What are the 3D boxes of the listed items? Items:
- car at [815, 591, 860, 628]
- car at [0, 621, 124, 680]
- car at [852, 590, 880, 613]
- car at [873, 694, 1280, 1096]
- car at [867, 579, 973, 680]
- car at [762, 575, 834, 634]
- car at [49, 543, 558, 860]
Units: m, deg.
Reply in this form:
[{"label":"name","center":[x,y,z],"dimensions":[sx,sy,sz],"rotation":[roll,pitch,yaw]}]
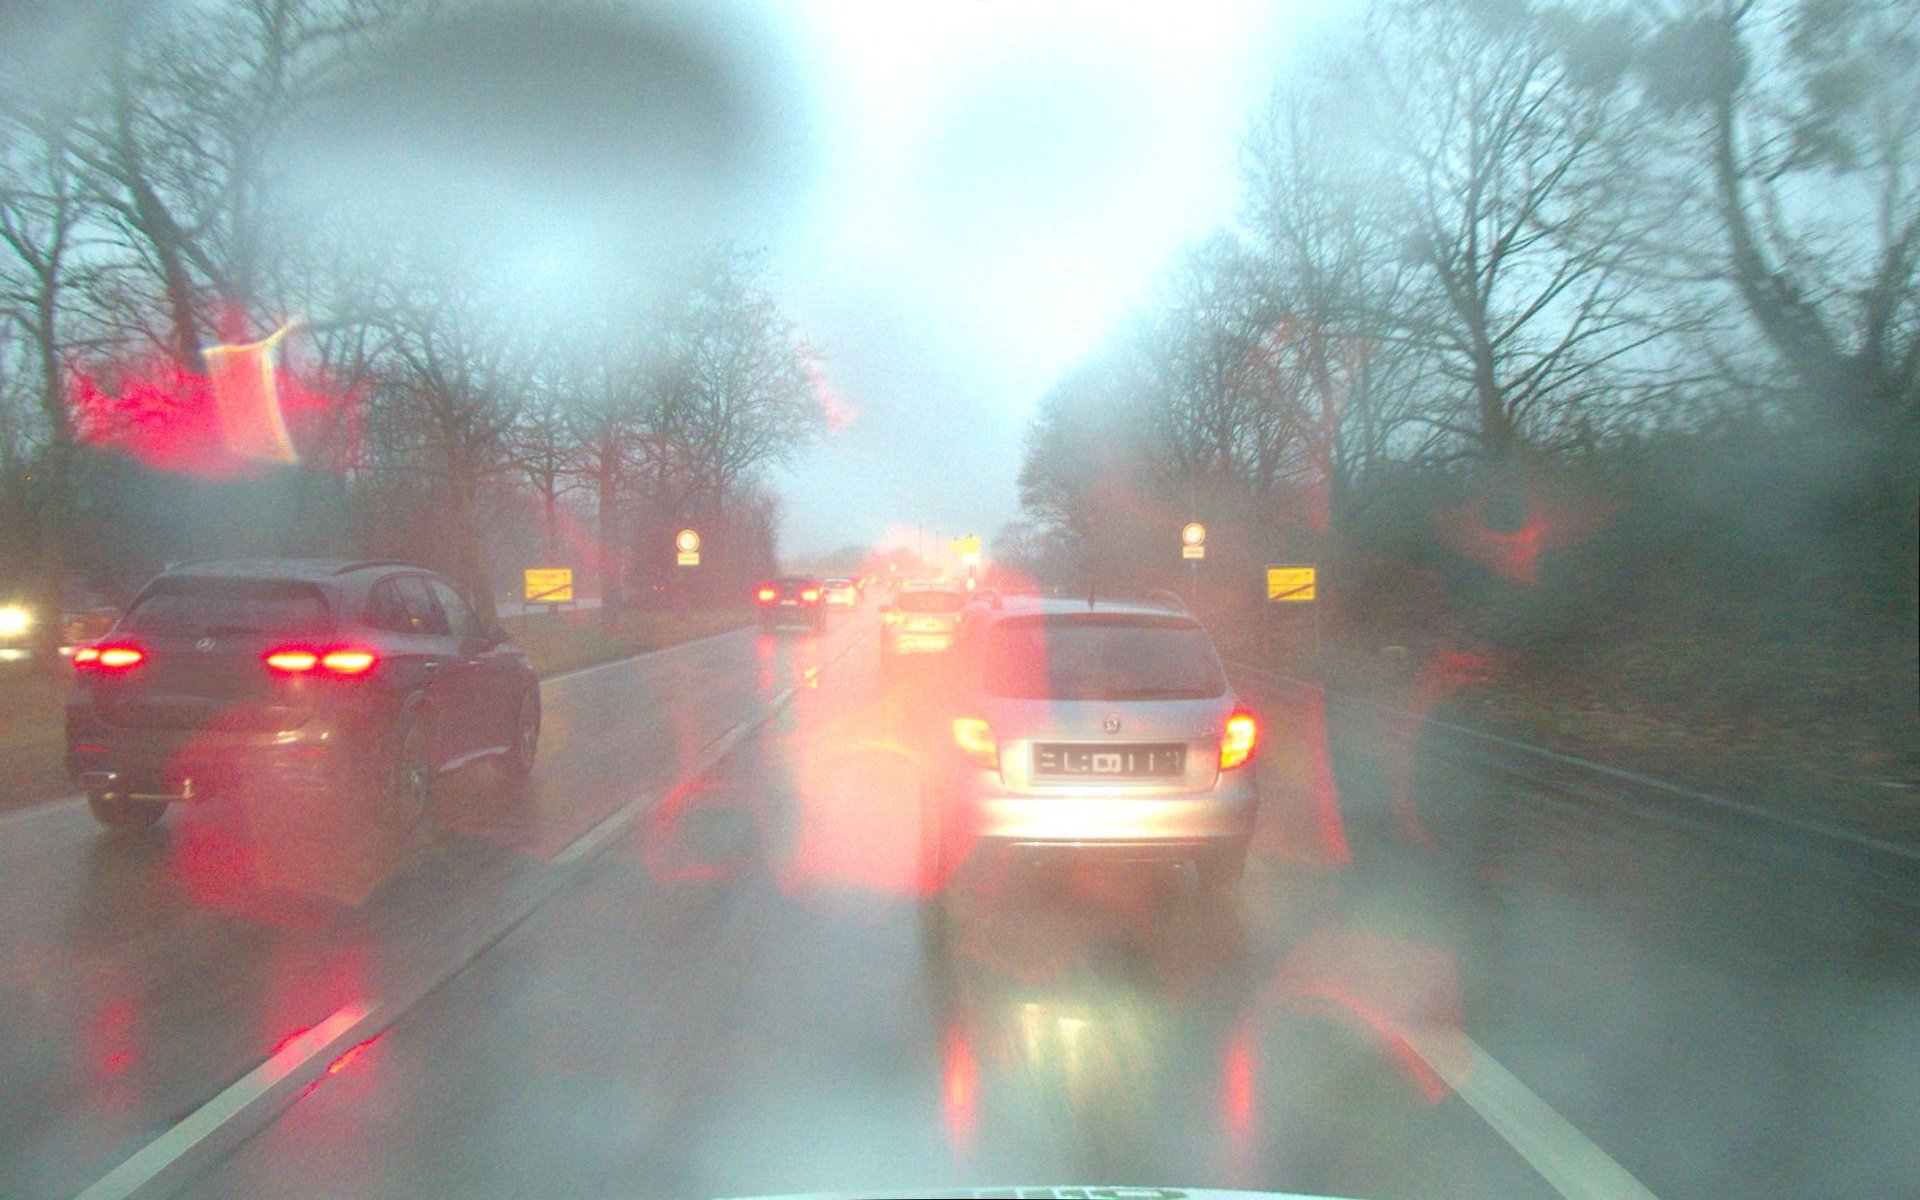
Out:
[{"label":"car","center":[-5.648,0.449,76.725],"dimensions":[1.785,1.677,4.000],"rotation":[0,0,0]},{"label":"car","center":[-25.202,1.377,46.190],"dimensions":[1.716,1.508,4.195],"rotation":[0,0,-2]},{"label":"car","center":[-5.547,0.096,98.279],"dimensions":[1.474,1.362,3.999],"rotation":[0,0,-1]},{"label":"car","center":[0.527,1.517,10.026],"dimensions":[1.894,1.677,4.465],"rotation":[1,-1,-1]},{"label":"car","center":[-0.710,0.541,30.416],"dimensions":[1.785,1.677,4.465],"rotation":[1,-1,-1]},{"label":"car","center":[-4.779,0.142,49.250],"dimensions":[1.785,1.677,3.999],"rotation":[0,0,-1]},{"label":"car","center":[-4.051,0.555,11.089],"dimensions":[1.786,1.677,4.464],"rotation":[0,0,-2]}]
